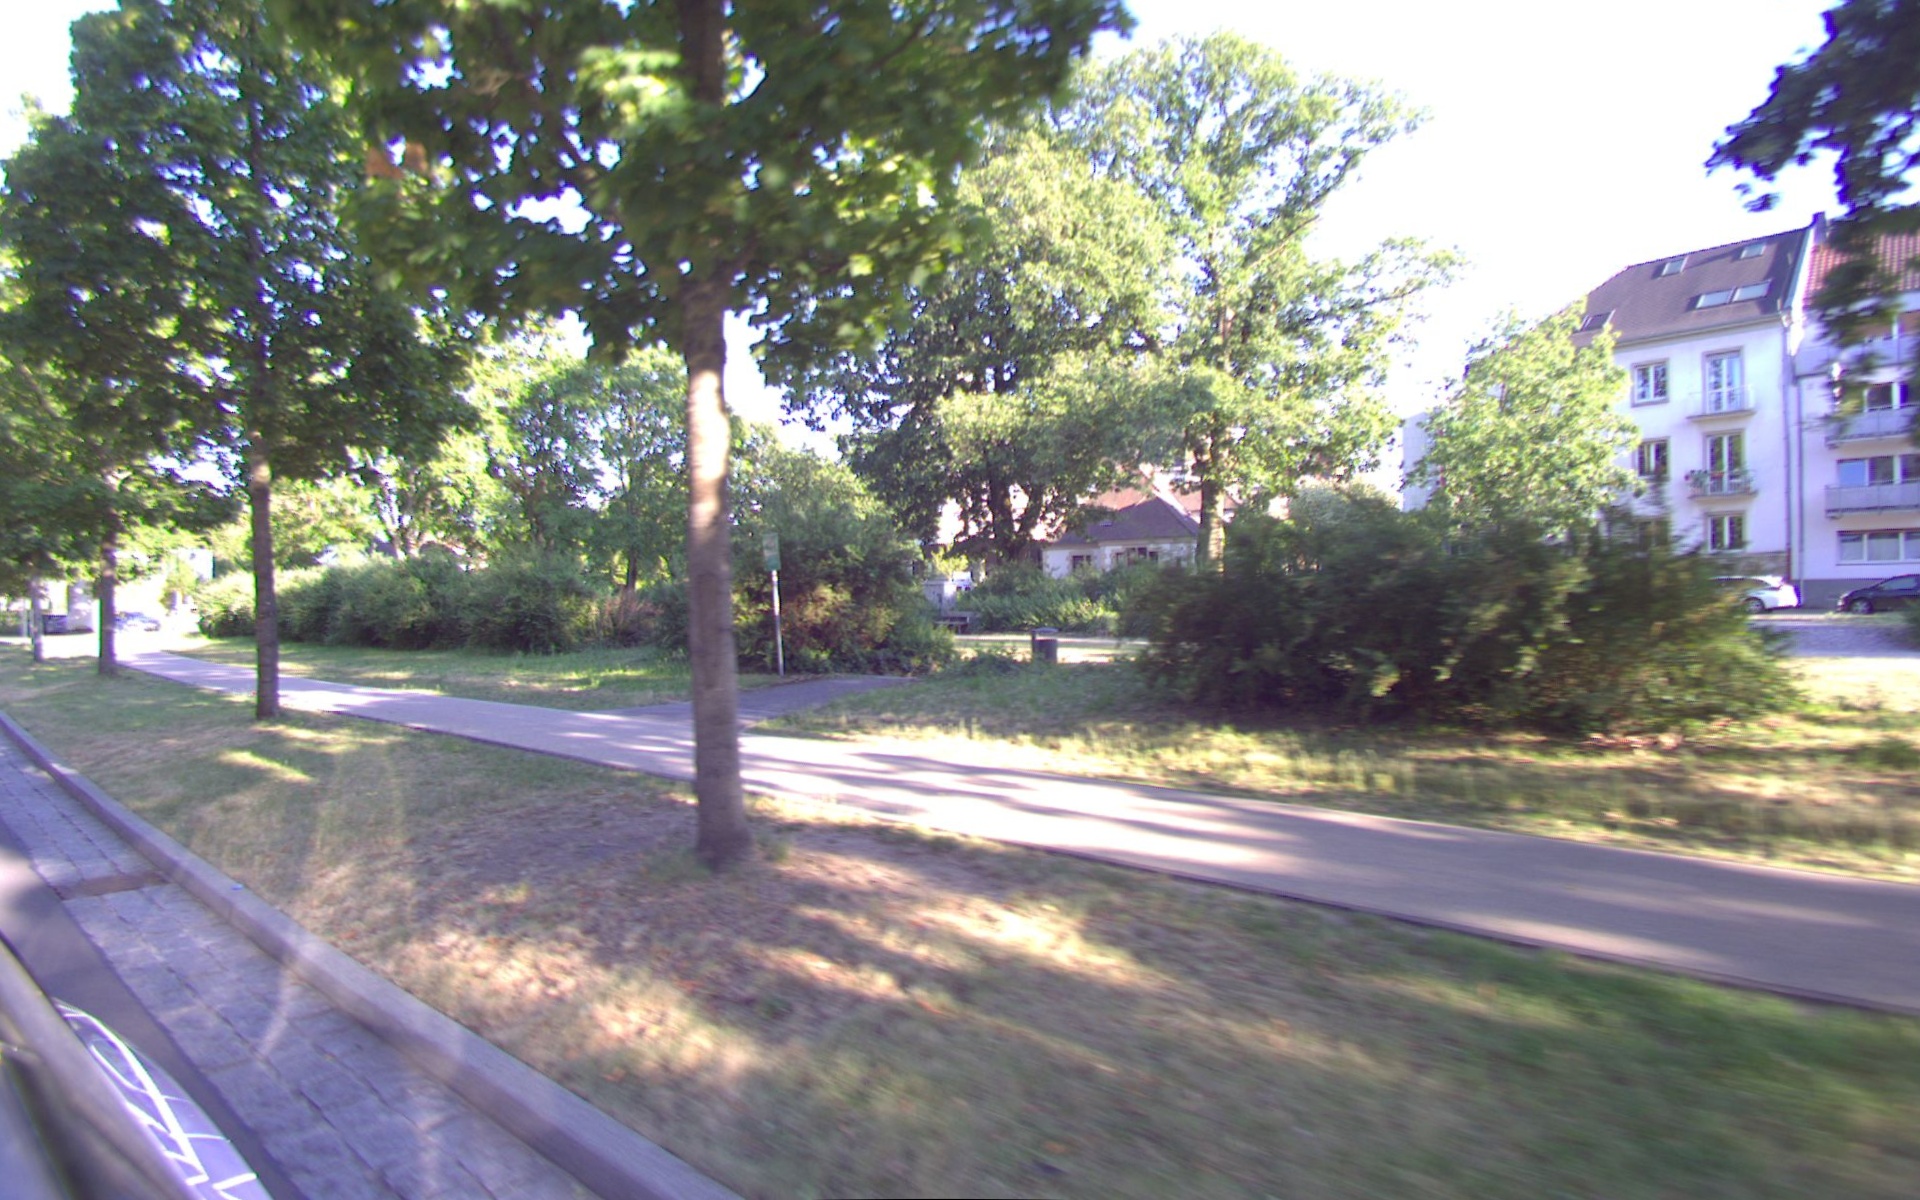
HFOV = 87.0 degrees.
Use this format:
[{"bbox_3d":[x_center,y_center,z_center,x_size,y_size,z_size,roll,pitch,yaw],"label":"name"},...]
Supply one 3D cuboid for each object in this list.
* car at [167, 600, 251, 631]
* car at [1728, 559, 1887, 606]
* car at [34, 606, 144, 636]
[{"bbox_3d":[-50.709,1.031,68.433,1.754,1.930,4.199,-2,1,27],"label":"car"},{"bbox_3d":[30.873,-0.608,36.933,1.908,1.593,4.222,-3,2,-42],"label":"car"},{"bbox_3d":[-53.536,1.261,62.335,1.859,1.570,4.793,-2,1,27],"label":"car"}]
